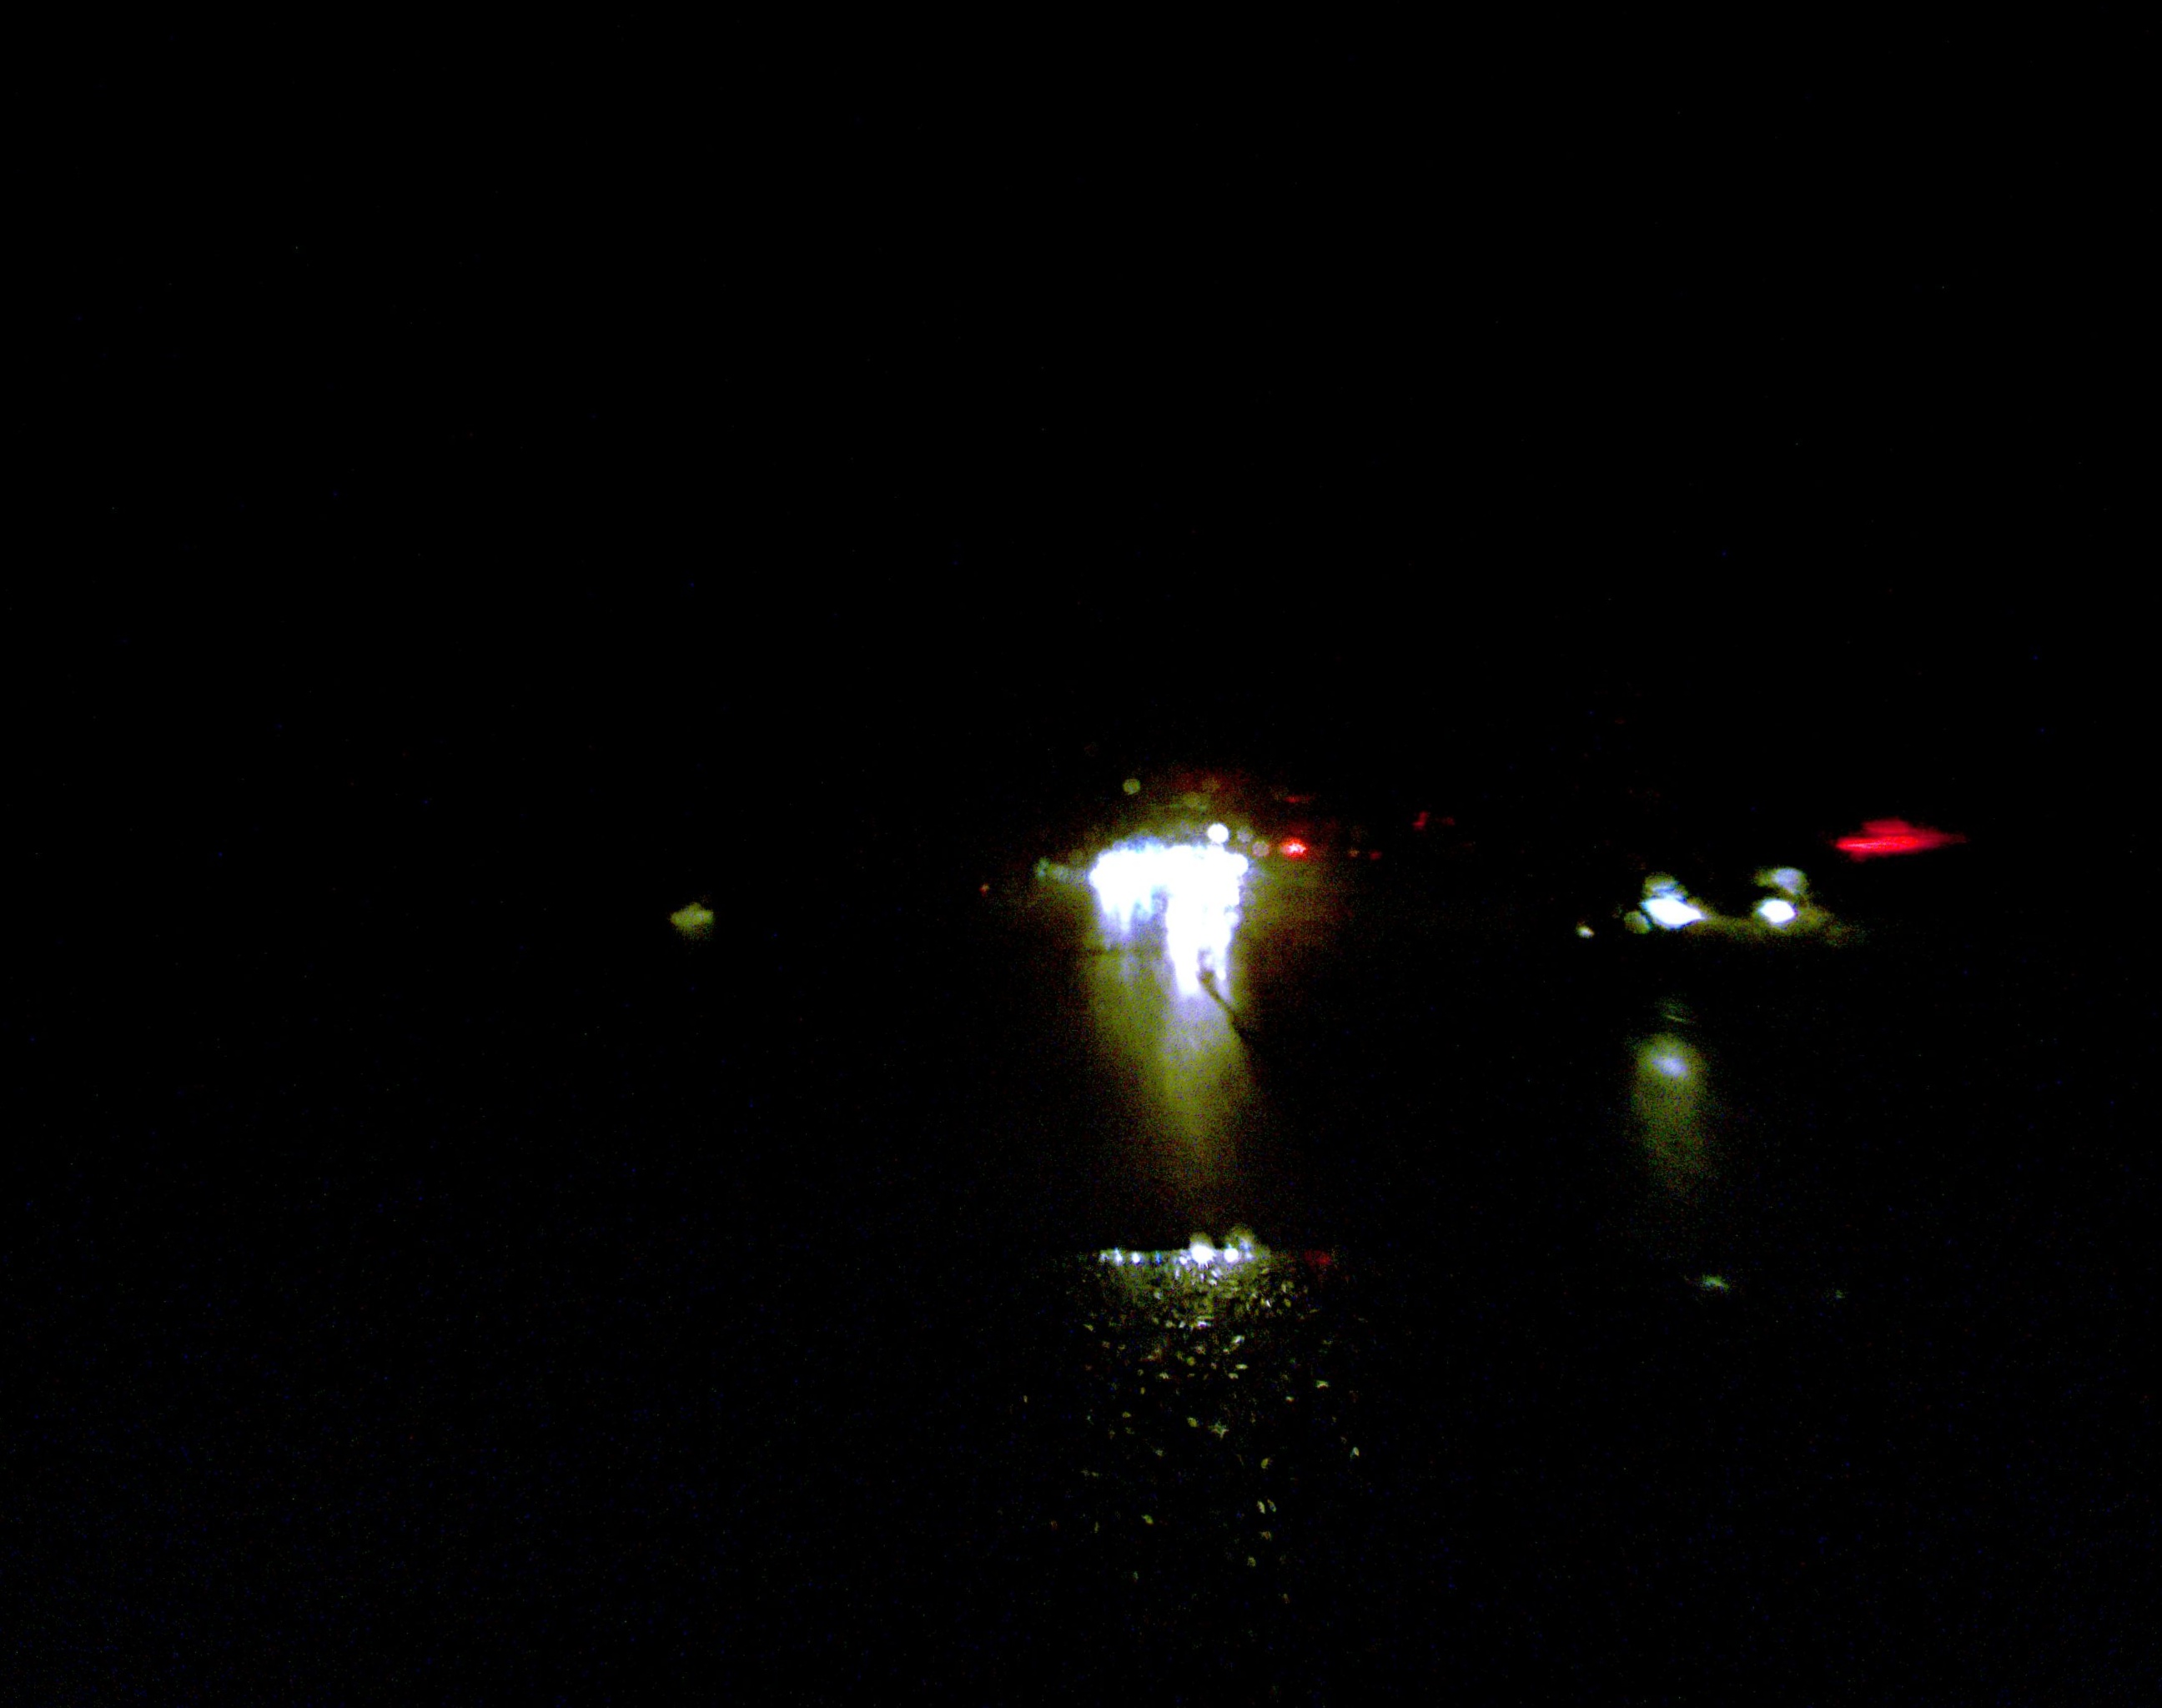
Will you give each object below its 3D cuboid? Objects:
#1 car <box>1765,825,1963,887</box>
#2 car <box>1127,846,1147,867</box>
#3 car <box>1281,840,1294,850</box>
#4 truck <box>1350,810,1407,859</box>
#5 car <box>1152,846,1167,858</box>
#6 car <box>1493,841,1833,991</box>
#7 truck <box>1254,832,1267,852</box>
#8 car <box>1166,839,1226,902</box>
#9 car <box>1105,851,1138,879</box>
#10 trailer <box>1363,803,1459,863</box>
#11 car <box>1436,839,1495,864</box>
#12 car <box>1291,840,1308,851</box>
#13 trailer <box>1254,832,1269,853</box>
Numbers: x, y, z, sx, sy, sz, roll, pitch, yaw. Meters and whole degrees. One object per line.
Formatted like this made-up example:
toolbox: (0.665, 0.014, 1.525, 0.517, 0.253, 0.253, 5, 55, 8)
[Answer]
car: (19.444, 0.015, 19.068, 1.607, 1.335, 3.242, -4, 1, 1)
car: (6.239, 0.226, 84.430, 1.998, 2.002, 4.001, -5, 1, 6)
car: (40.347, -1.807, 148.594, 1.997, 1.718, 4.002, -3, 1, 9)
truck: (22.348, -1.438, 57.283, 2.610, 3.438, 4.642, -3, 1, 5)
car: (13.909, -0.322, 134.977, 1.999, 2.002, 3.999, -6, 1, -2)
car: (7.240, 0.670, 10.021, 1.653, 1.566, 3.850, -1, 0, 3)
truck: (40.544, -2.679, 172.056, 2.569, 4.379, 5.855, -3, 1, 12)
car: (4.115, 0.550, 27.712, 1.753, 2.092, 4.464, -1, 0, 4)
car: (2.673, 0.677, 48.911, 1.892, 1.602, 4.001, -3, 1, 5)
trailer: (21.743, -1.333, 50.817, 2.615, 3.452, 10.449, -3, 1, 5)
car: (28.113, -0.183, 55.736, 1.836, 1.703, 3.996, -3, 1, -9)
car: (36.020, -1.436, 125.515, 1.901, 1.634, 4.197, -3, 1, 5)
trailer: (39.030, -2.533, 164.677, 2.579, 4.431, 12.501, -3, 1, 11)
